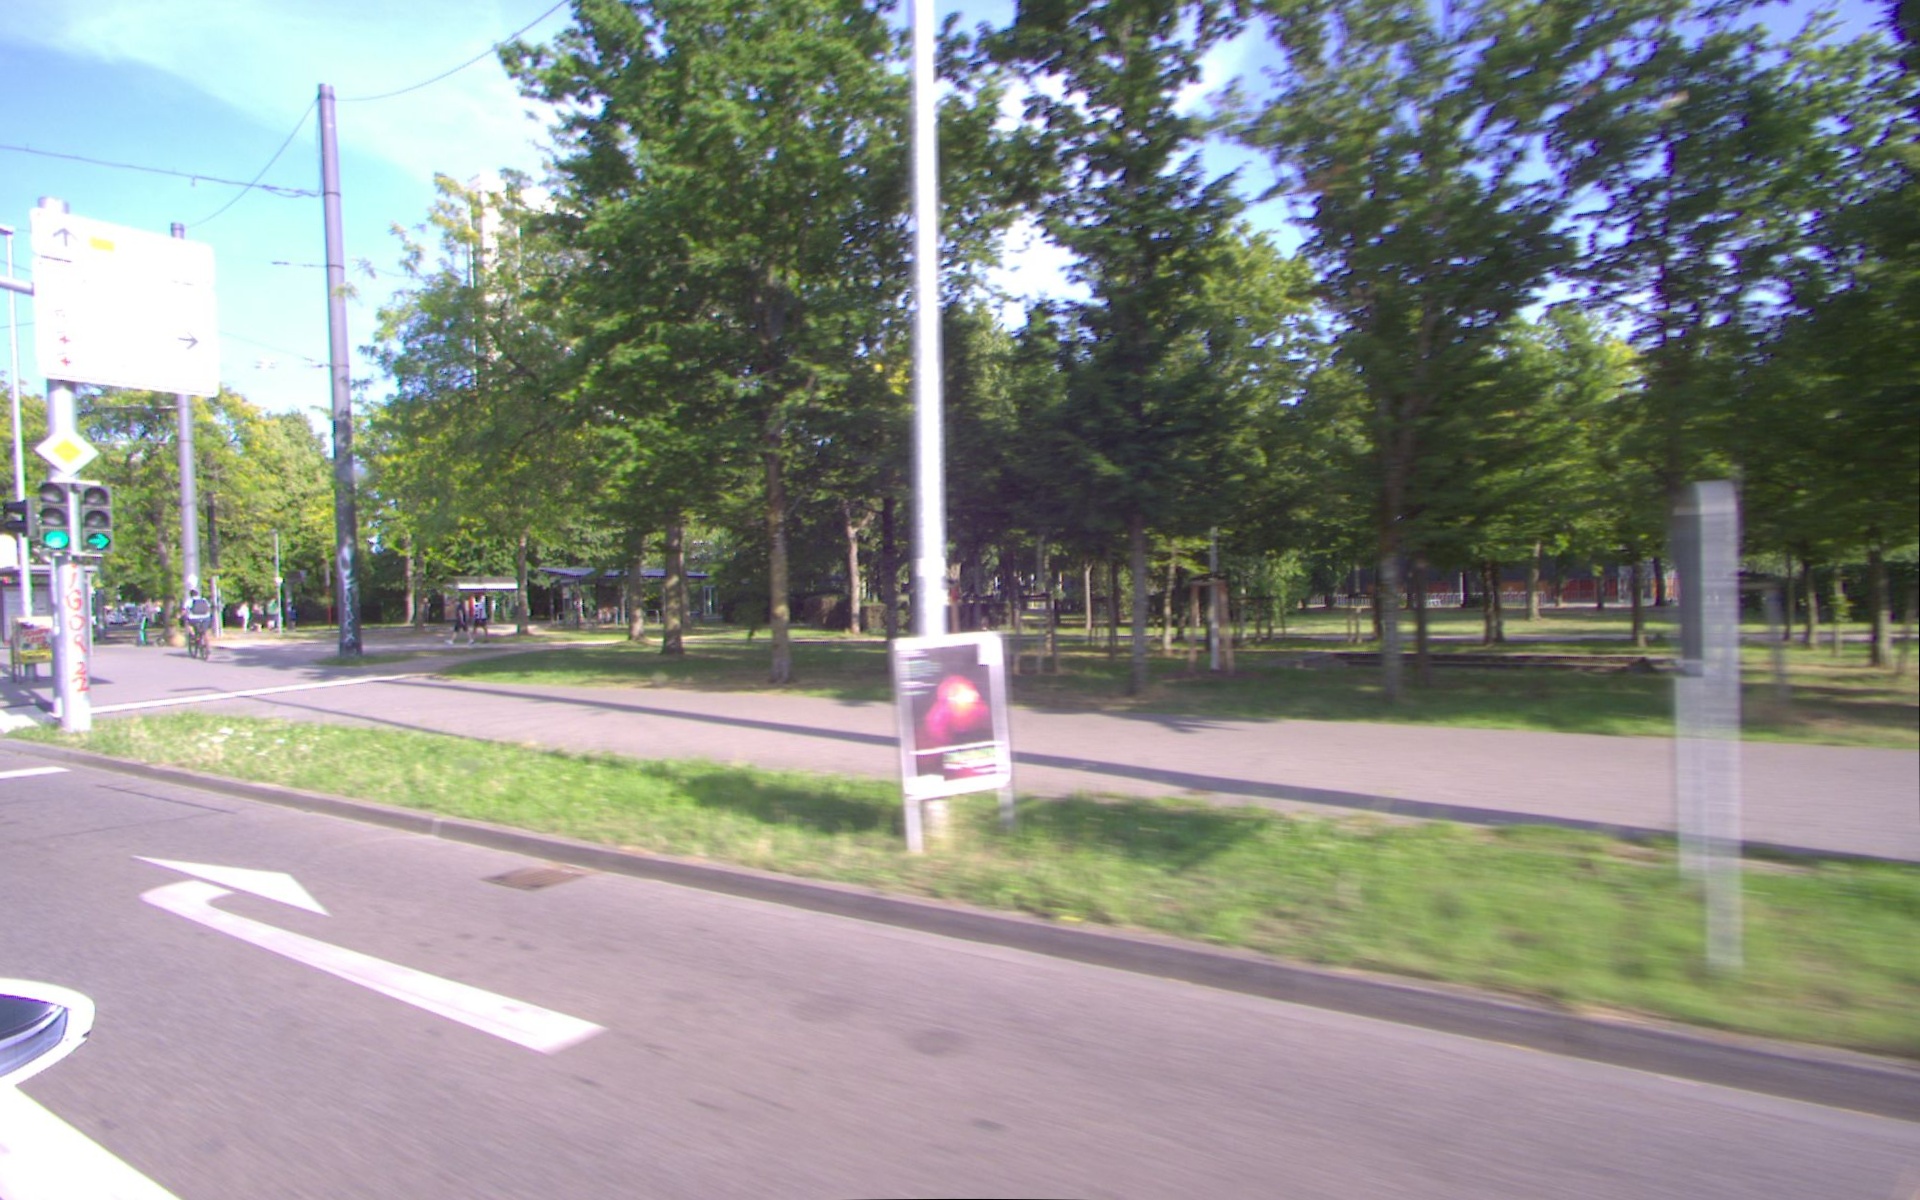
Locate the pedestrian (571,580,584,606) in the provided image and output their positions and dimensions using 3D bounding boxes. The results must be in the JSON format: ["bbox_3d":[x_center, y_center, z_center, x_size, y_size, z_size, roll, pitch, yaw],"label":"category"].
[{"bbox_3d":[-27.033,-0.492,70.777,0.667,1.823,0.605,1,-1,-44],"label":"pedestrian"}]

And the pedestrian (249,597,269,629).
[{"bbox_3d":[-36.974,0.691,52.827,0.681,1.687,0.639,0,1,32],"label":"pedestrian"}]

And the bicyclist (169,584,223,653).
[{"bbox_3d":[-20.334,0.482,26.642,1.123,1.770,0.647,-1,4,31],"label":"bicyclist"}]

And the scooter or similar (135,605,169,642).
[{"bbox_3d":[-27.670,0.799,34.289,1.115,1.248,0.351,-1,1,18],"label":"scooter or similar"}]

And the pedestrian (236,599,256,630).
[{"bbox_3d":[-37.854,0.760,53.084,0.681,1.632,0.639,0,1,32],"label":"pedestrian"}]

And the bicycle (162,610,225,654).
[{"bbox_3d":[-20.501,0.846,26.775,1.912,1.103,0.639,-1,3,32],"label":"bicycle"}]

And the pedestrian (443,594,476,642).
[{"bbox_3d":[-18.920,0.670,37.862,0.863,1.800,0.673,0,-1,13],"label":"pedestrian"}]

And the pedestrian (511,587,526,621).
[{"bbox_3d":[-24.578,0.239,55.743,0.594,1.891,0.462,0,-1,3],"label":"pedestrian"}]

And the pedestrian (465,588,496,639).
[{"bbox_3d":[-18.505,0.526,38.638,0.863,1.922,0.673,0,-1,5],"label":"pedestrian"}]

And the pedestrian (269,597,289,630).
[{"bbox_3d":[-35.893,0.705,52.772,0.681,1.687,0.639,0,1,32],"label":"pedestrian"}]

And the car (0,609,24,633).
[{"bbox_3d":[-64.059,1.394,66.425,1.831,1.536,3.981,-3,1,-28],"label":"car"}]
